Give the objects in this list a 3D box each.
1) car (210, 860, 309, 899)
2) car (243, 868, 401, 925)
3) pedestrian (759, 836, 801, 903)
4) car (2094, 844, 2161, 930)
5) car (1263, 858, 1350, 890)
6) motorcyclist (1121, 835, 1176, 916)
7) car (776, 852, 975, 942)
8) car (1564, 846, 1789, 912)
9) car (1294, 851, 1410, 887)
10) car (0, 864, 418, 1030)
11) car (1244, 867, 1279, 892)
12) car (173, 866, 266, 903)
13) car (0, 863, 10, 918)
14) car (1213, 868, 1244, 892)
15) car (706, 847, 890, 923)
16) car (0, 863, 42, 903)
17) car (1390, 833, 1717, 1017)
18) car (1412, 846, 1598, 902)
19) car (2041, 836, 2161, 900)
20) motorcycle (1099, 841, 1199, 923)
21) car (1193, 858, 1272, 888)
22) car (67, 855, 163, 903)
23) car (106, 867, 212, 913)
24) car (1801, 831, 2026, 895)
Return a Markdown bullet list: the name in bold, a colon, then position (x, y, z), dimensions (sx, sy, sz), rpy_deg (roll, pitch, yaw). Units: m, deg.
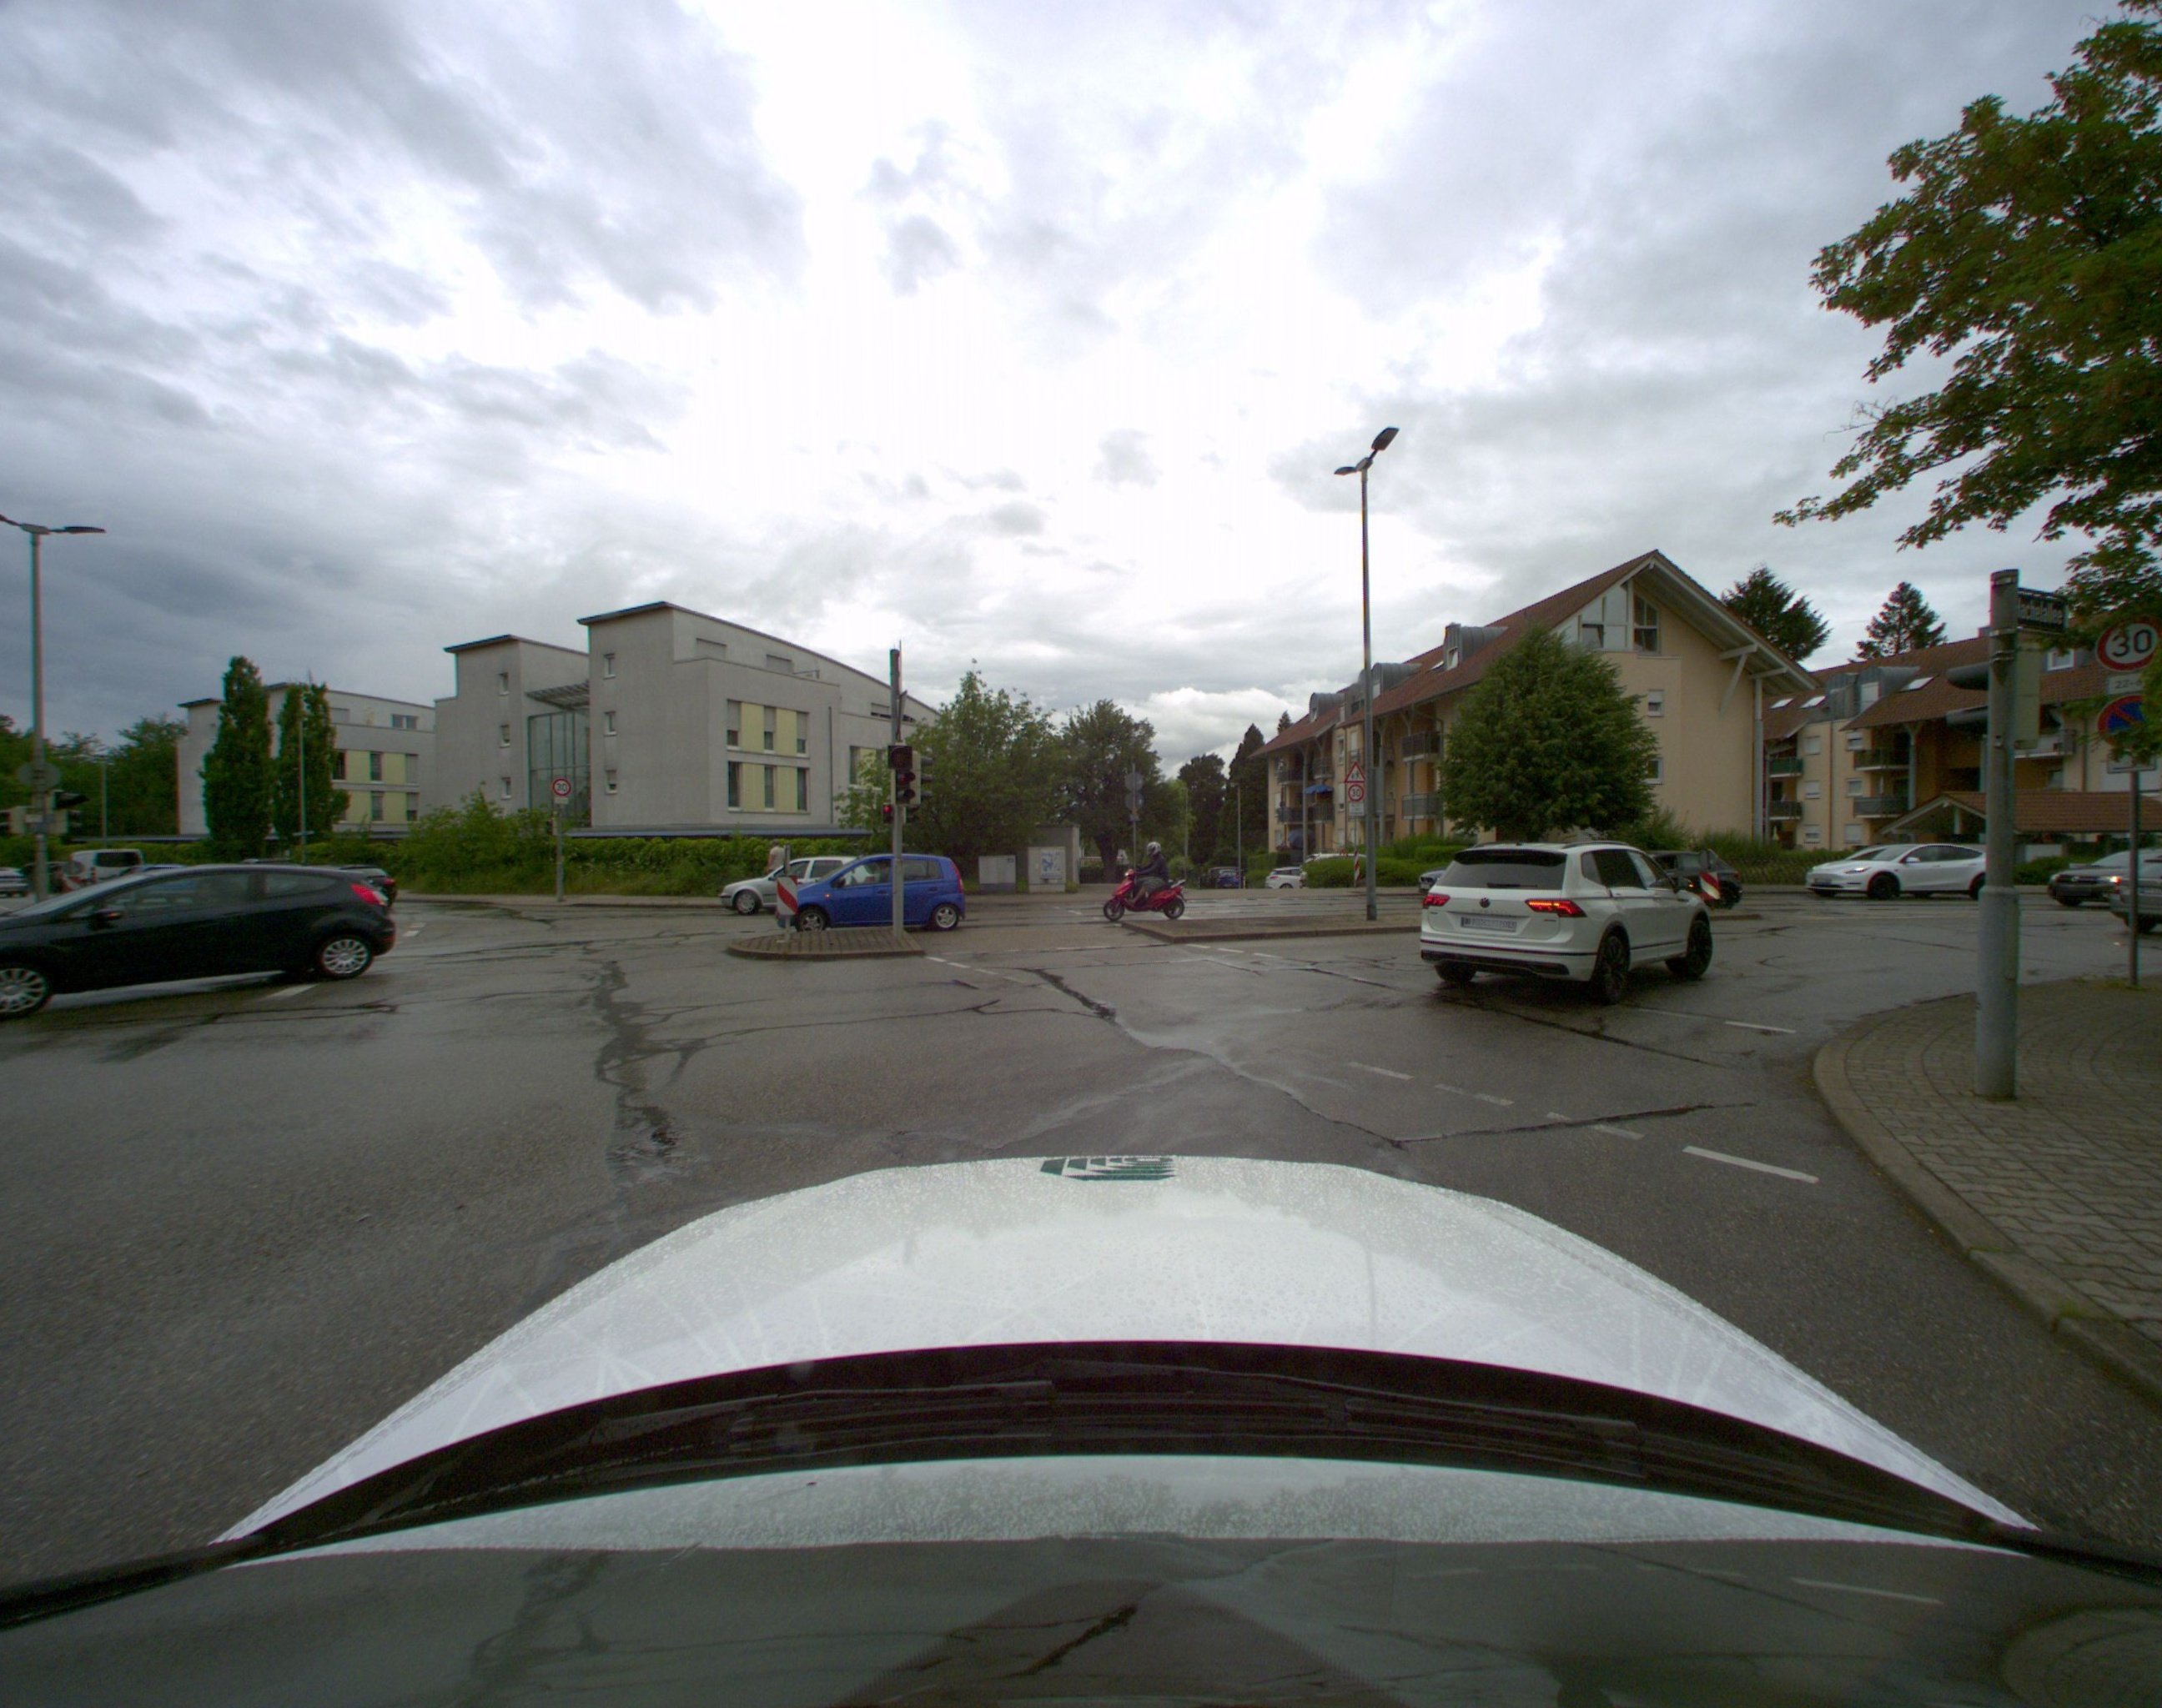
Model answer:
- **car**: position (-36.715, 1.105, 36.399), dimensions (3.949, 1.555, 2.013), rpy_deg (0, 2, 28)
- **car**: position (-23.432, 1.258, 25.170), dimensions (3.953, 1.552, 2.011), rpy_deg (0, 1, 21)
- **pedestrian**: position (-9.213, 0.454, 24.959), dimensions (0.792, 2.013, 0.854), rpy_deg (-1, 1, 23)
- **car**: position (21.095, 0.638, 14.922), dimensions (3.995, 1.509, 1.762), rpy_deg (1, 1, -16)
- **car**: position (11.109, 0.971, 40.275), dimensions (3.837, 1.408, 1.766), rpy_deg (-2, 1, 0)
- **motorcyclist**: position (1.424, 0.439, 17.220), dimensions (0.937, 1.624, 0.770), rpy_deg (-2, 0, -12)
- **car**: position (-3.856, 0.731, 15.290), dimensions (3.440, 1.456, 1.515), rpy_deg (-1, 1, -20)
- **car**: position (14.110, 0.563, 19.429), dimensions (4.182, 1.408, 1.819), rpy_deg (-1, 0, -5)
- **car**: position (11.015, 0.606, 33.274), dimensions (4.174, 1.439, 1.823), rpy_deg (0, -1, 1)
- **car**: position (-10.507, 0.917, 9.379), dimensions (1.901, 1.500, 4.025), rpy_deg (0, 1, 30)
- **car**: position (11.664, 1.623, 52.813), dimensions (1.752, 1.408, 3.868), rpy_deg (-2, 0, 5)
- **car**: position (-40.716, 1.411, 38.491), dimensions (3.949, 1.555, 2.013), rpy_deg (0, 2, 28)
- **car**: position (-38.288, 1.241, 27.586), dimensions (3.949, 1.815, 2.013), rpy_deg (1, 2, 32)
- **car**: position (10.059, 1.754, 55.670), dimensions (1.752, 1.408, 3.868), rpy_deg (-2, 0, 5)
- **car**: position (-7.137, 0.745, 20.884), dimensions (3.977, 1.669, 1.999), rpy_deg (2, 2, -3)
- **car**: position (-57.074, 1.509, 43.198), dimensions (3.949, 1.757, 2.013), rpy_deg (4, 3, 32)
- **car**: position (5.744, 0.629, 9.705), dimensions (4.285, 1.722, 1.905), rpy_deg (-1, 1, -38)
- **car**: position (11.817, 0.532, 22.902), dimensions (4.324, 1.435, 1.759), rpy_deg (-1, 0, -1)
- **car**: position (26.575, 0.362, 19.872), dimensions (3.906, 1.486, 1.832), rpy_deg (2, 1, 5)
- **motorcycle**: position (1.430, 0.562, 17.221), dimensions (1.917, 1.624, 0.794), rpy_deg (-2, 0, -12)
- **car**: position (12.638, 1.547, 68.217), dimensions (5.990, 2.200, 2.848), rpy_deg (2, 1, -5)
- **car**: position (-54.342, 1.406, 45.793), dimensions (5.188, 2.413, 2.617), rpy_deg (-3, 0, 31)
- **car**: position (-35.946, 1.345, 31.754), dimensions (3.949, 1.555, 2.013), rpy_deg (0, 2, 31)
- **car**: position (24.095, 0.228, 23.713), dimensions (4.569, 1.725, 1.955), rpy_deg (-1, 1, 1)
